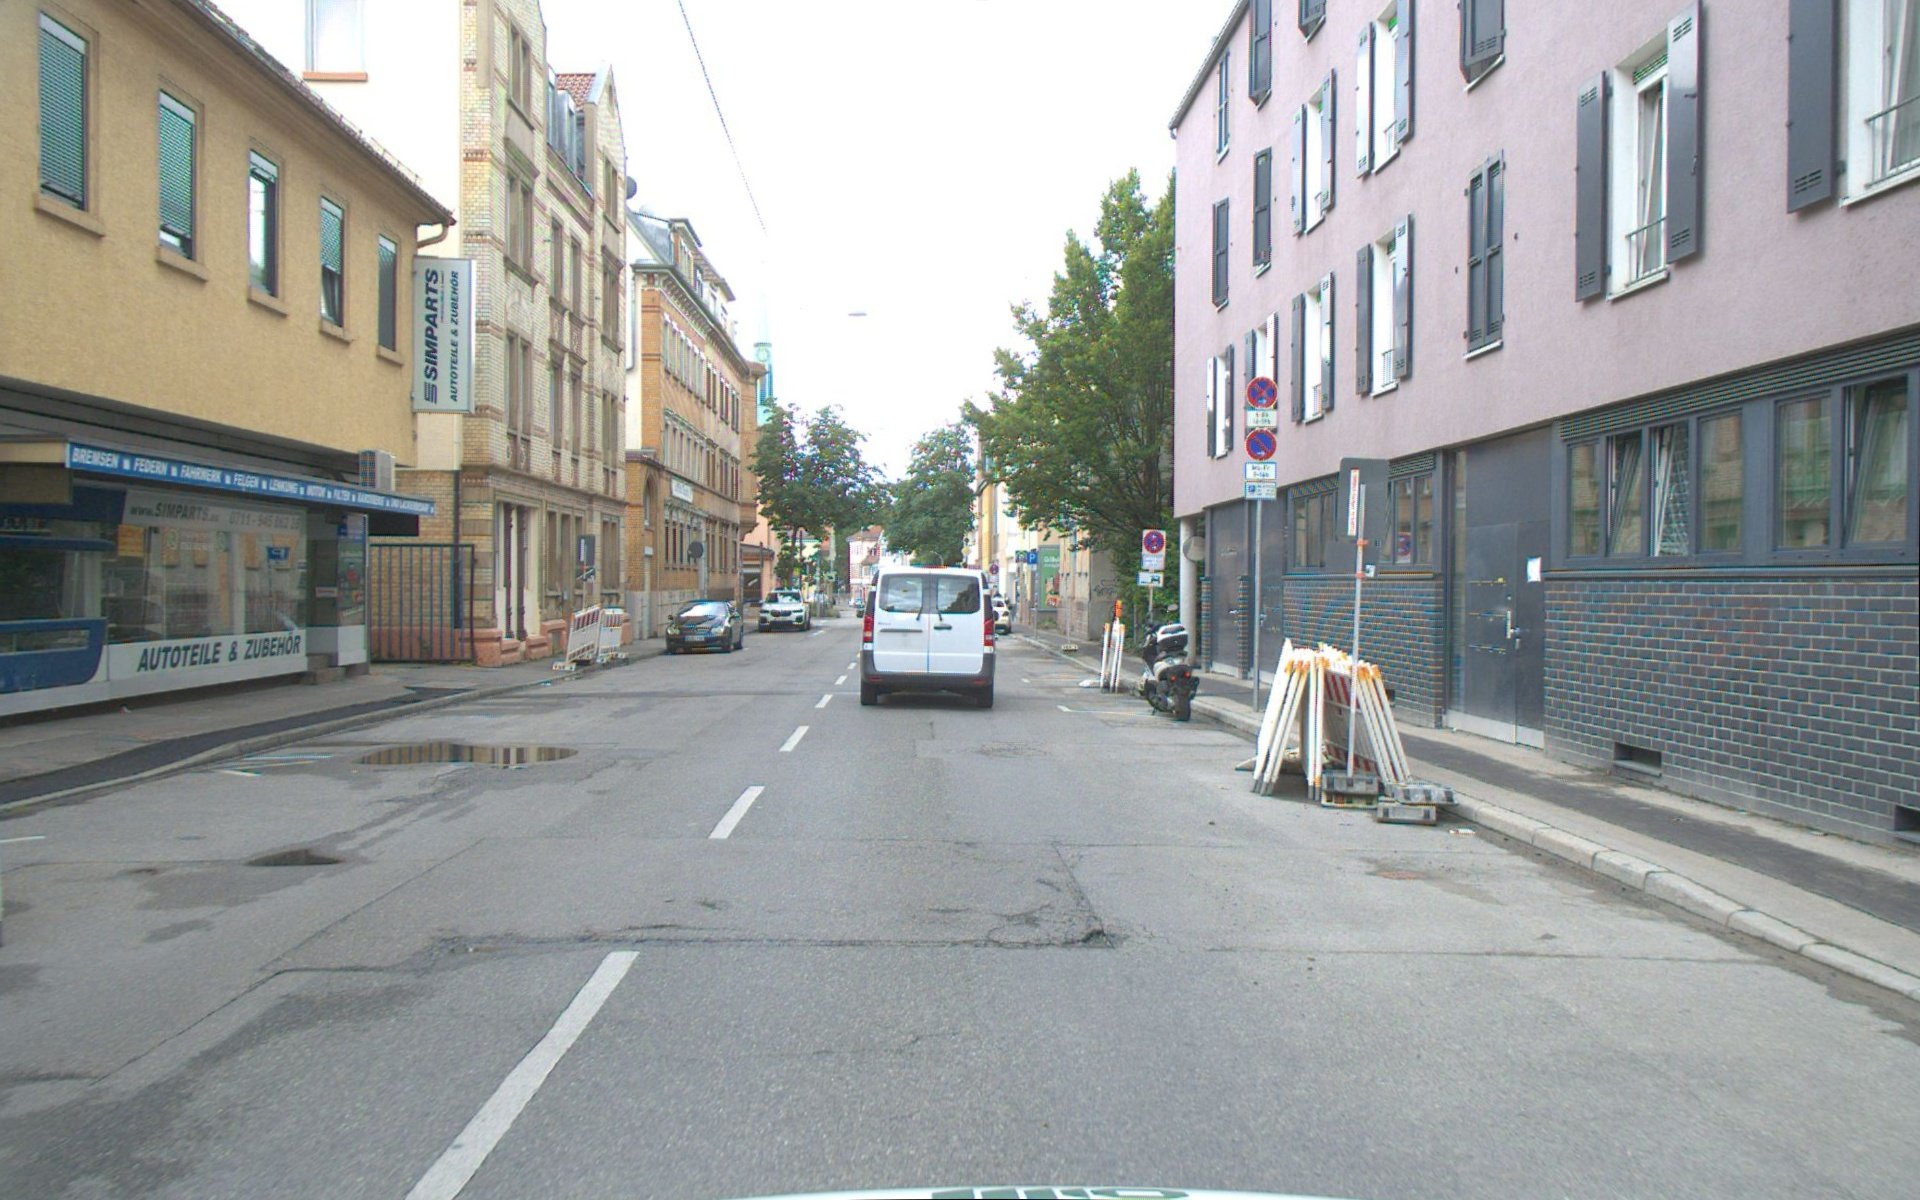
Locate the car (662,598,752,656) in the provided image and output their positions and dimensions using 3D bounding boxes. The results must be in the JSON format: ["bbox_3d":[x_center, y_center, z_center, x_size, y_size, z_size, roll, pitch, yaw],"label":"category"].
[{"bbox_3d":[-6.818,0.691,44.937,1.953,1.467,3.998,-1,0,-2],"label":"car"}]

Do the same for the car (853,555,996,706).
[{"bbox_3d":[-0.511,0.402,24.050,1.853,1.962,4.644,1,0,-1],"label":"car"}]

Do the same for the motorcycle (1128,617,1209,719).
[{"bbox_3d":[2.759,0.877,22.088,0.631,1.268,2.266,1,0,-4],"label":"motorcycle"}]

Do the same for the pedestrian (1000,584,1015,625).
[{"bbox_3d":[2.451,0.210,84.855,0.610,2.048,0.907,4,0,4],"label":"pedestrian"}]

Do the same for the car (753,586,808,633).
[{"bbox_3d":[-7.513,0.378,69.605,1.954,1.771,3.998,4,0,-3],"label":"car"}]

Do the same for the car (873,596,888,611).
[{"bbox_3d":[-9.376,0.409,195.608,1.718,1.702,3.668,0,0,-1],"label":"car"}]

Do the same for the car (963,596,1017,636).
[{"bbox_3d":[1.253,0.667,70.084,1.954,1.511,3.998,4,0,-2],"label":"car"}]
